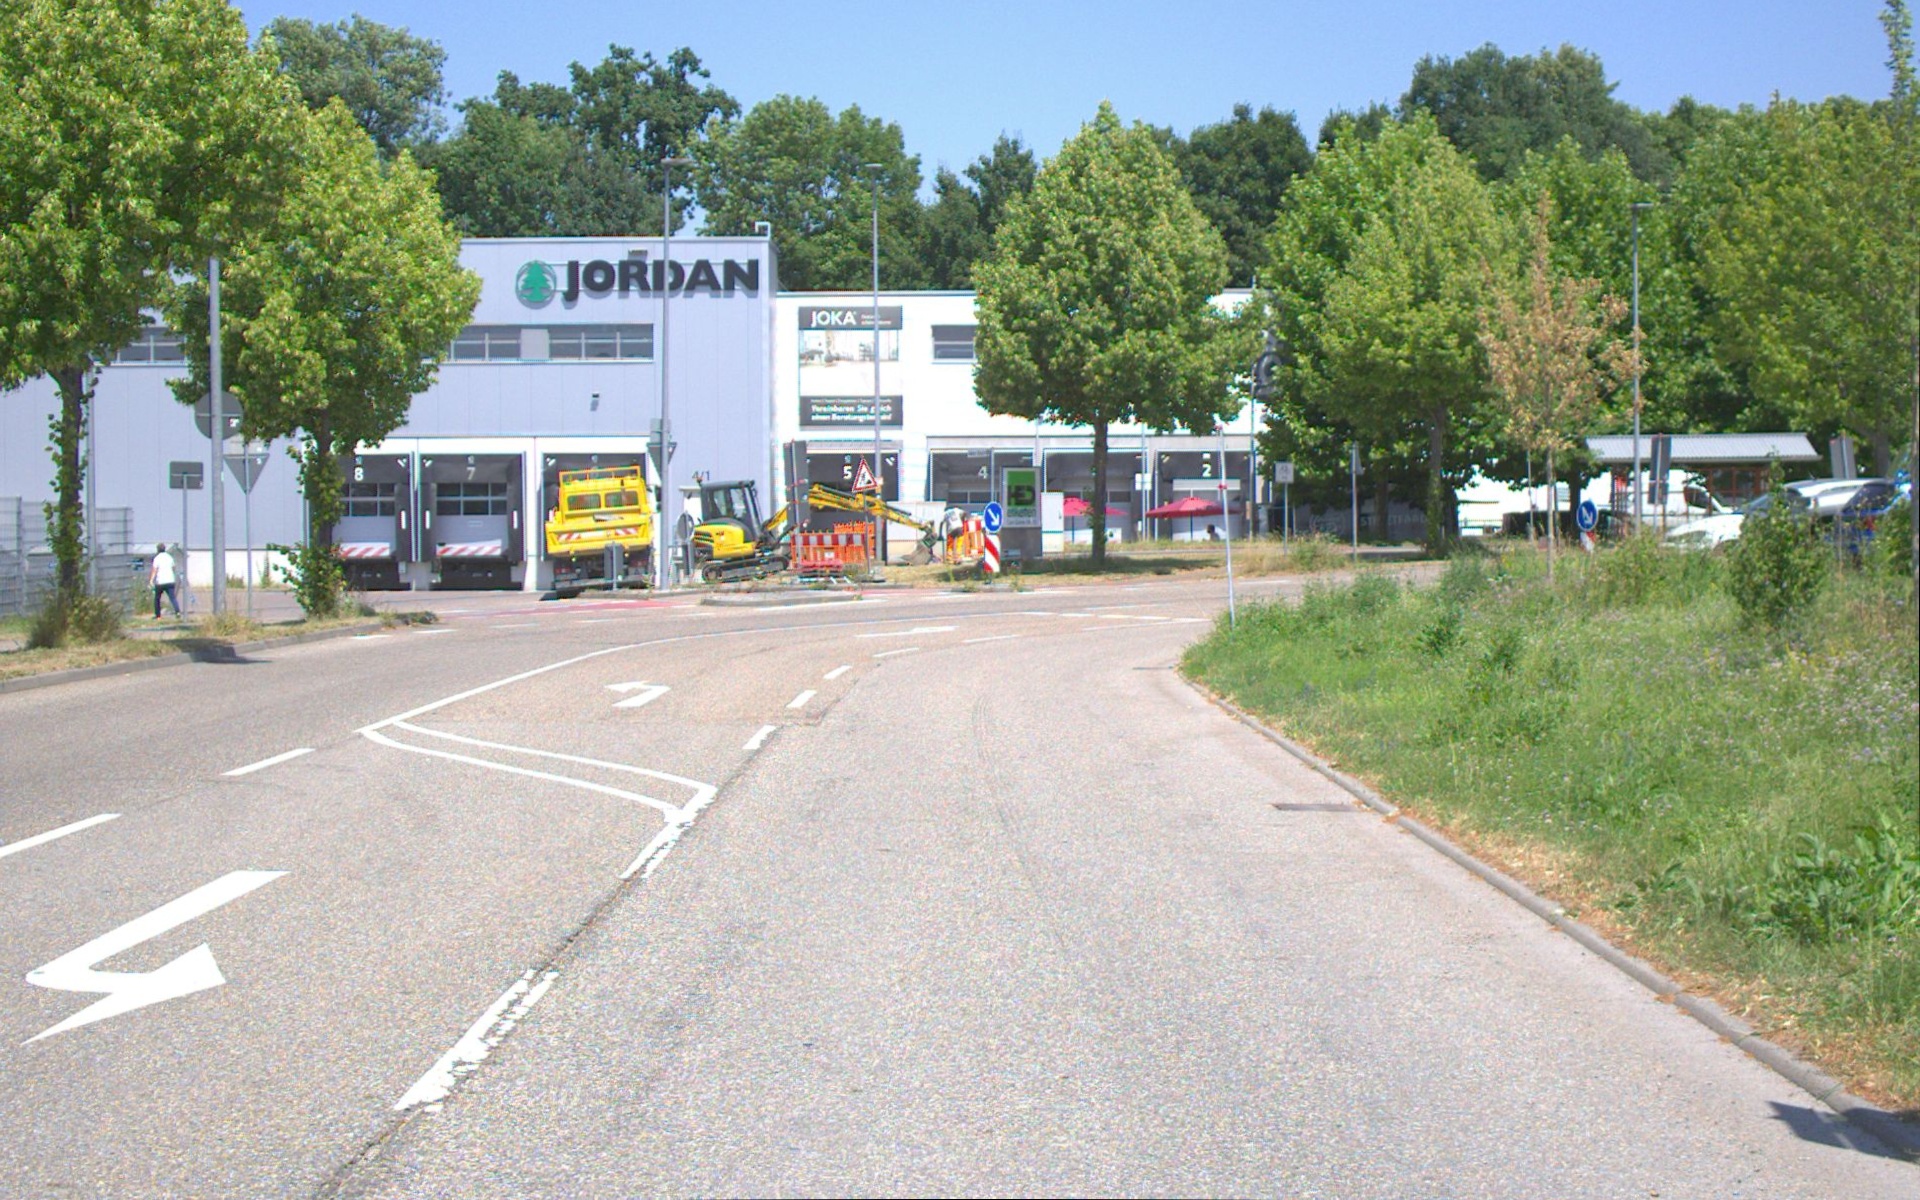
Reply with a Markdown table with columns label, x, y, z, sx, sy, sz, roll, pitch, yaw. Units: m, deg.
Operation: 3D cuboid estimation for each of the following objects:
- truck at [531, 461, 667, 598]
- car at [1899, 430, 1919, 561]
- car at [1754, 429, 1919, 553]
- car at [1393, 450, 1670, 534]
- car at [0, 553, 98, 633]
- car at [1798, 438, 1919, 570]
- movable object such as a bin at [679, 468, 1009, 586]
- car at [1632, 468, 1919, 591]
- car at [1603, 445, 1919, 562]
| label | x | y | z | sx | sy | sz | roll | pitch | yaw |
| --- | --- | --- | --- | --- | --- | --- | --- | --- | --- |
| truck | -8.886 | -1.791 | 84.138 | 2.938 | 2.875 | 5.812 | -3 | 5 | -9 |
| car | 12.555 | -1.182 | 37.390 | 4.162 | 1.395 | 1.769 | -2 | 5 | -3 |
| car | 12.281 | -1.421 | 43.177 | 4.162 | 1.395 | 1.769 | -2 | 5 | -3 |
| car | 15.399 | -2.906 | 92.983 | 7.172 | 2.080 | 2.000 | -1 | 1 | 3 |
| car | -22.097 | -0.185 | 82.947 | 1.993 | 1.546 | 4.002 | -2 | 5 | -7 |
| car | 12.229 | -1.202 | 40.610 | 4.162 | 1.395 | 1.769 | -2 | 5 | -3 |
| movable object such as a bin | -2.791 | -1.822 | 84.650 | 7.528 | 2.491 | 3.666 | -1 | 5 | 8 |
| car | 11.298 | -0.967 | 46.099 | 4.162 | 1.395 | 1.769 | -2 | 5 | -3 |
| car | 11.305 | -1.367 | 48.211 | 4.162 | 1.395 | 1.769 | -2 | 5 | -3 |
